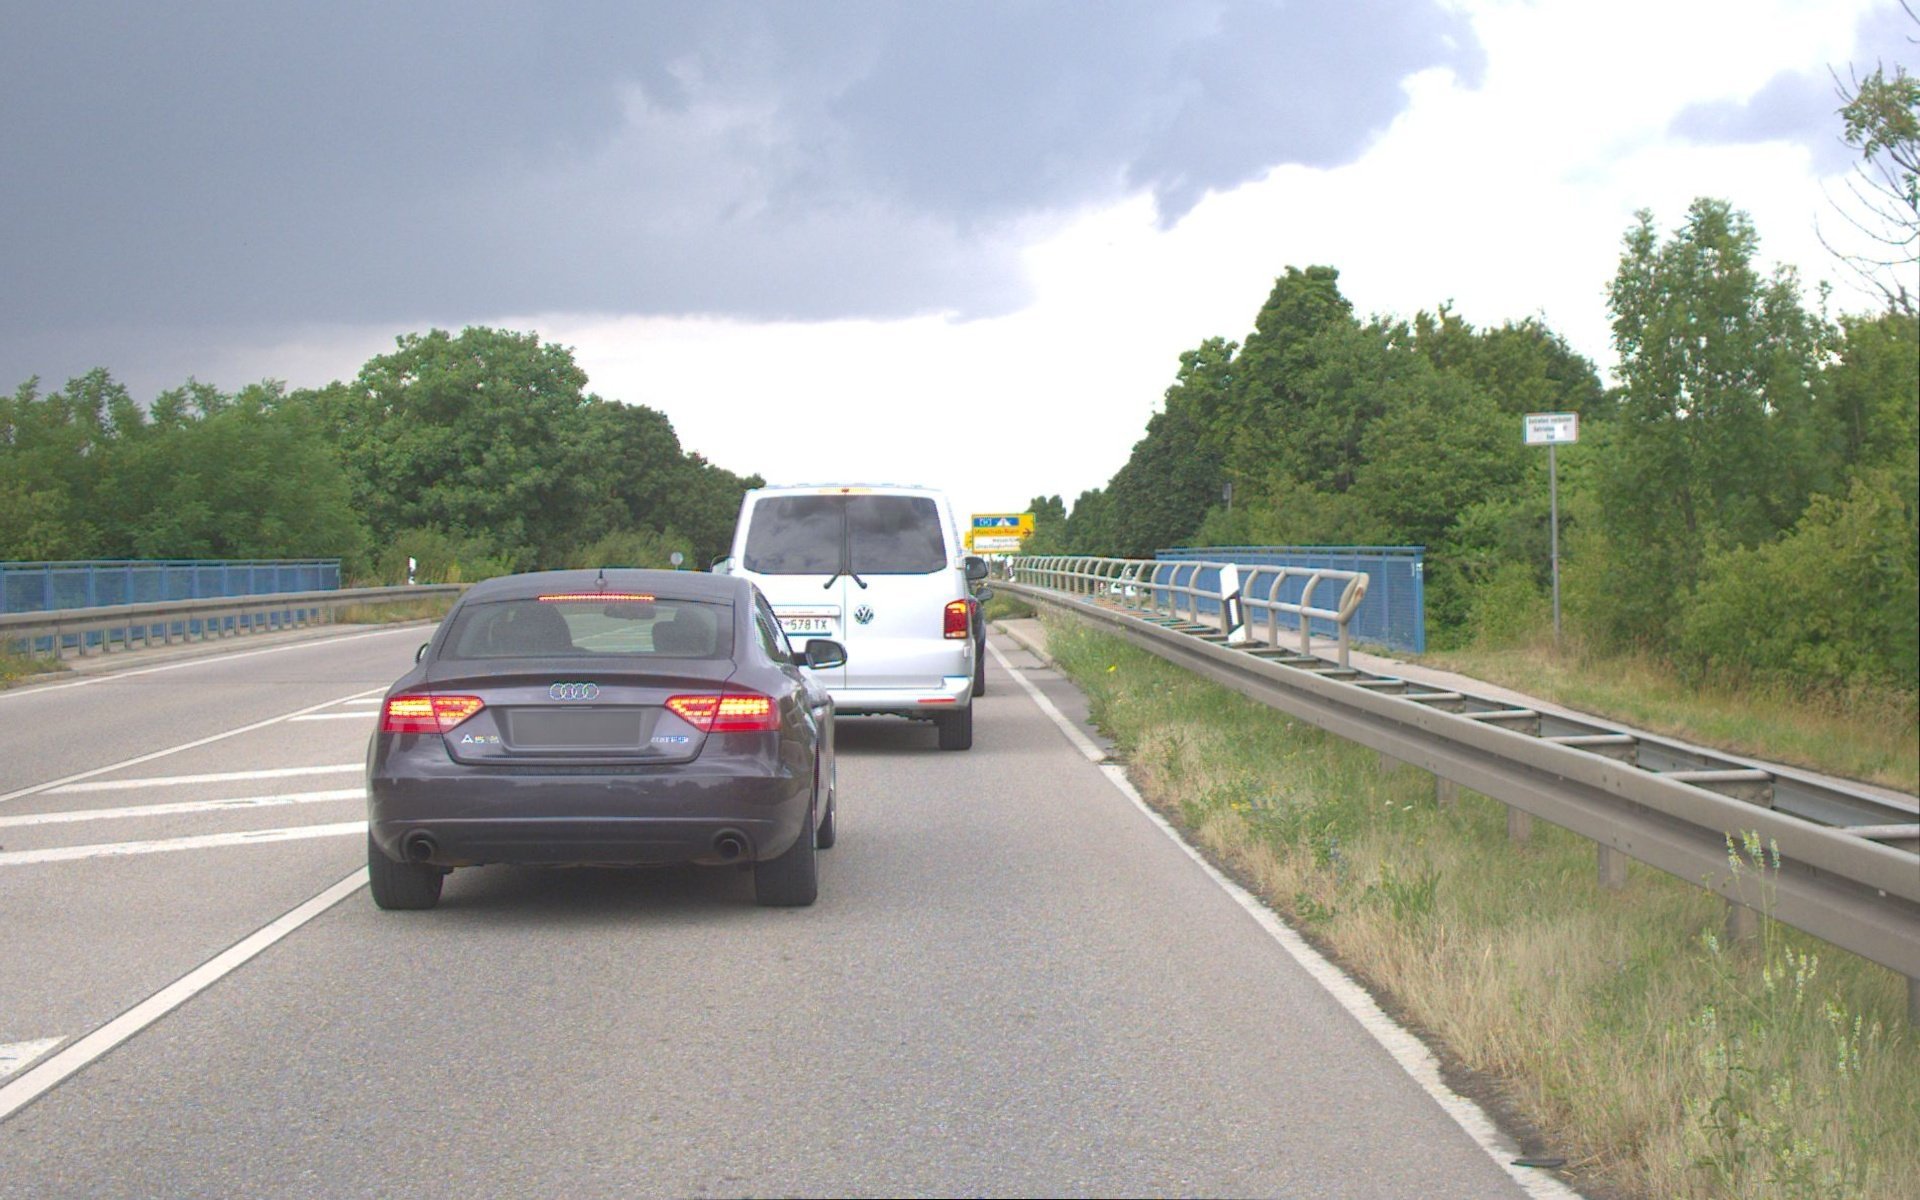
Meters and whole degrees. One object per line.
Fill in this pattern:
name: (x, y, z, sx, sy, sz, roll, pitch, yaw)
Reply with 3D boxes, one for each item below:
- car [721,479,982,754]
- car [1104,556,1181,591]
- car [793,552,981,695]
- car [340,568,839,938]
car: (-0.805, 0.091, 26.382, 1.828, 1.929, 4.000, -1, 1, -1)
car: (10.512, -1.531, 198.137, 3.991, 2.007, 1.998, 1, 0, 21)
car: (-0.701, 0.202, 35.434, 1.821, 1.376, 4.072, 0, 1, 0)
car: (-1.484, 0.564, 15.178, 1.821, 1.376, 4.072, -1, 1, -1)
